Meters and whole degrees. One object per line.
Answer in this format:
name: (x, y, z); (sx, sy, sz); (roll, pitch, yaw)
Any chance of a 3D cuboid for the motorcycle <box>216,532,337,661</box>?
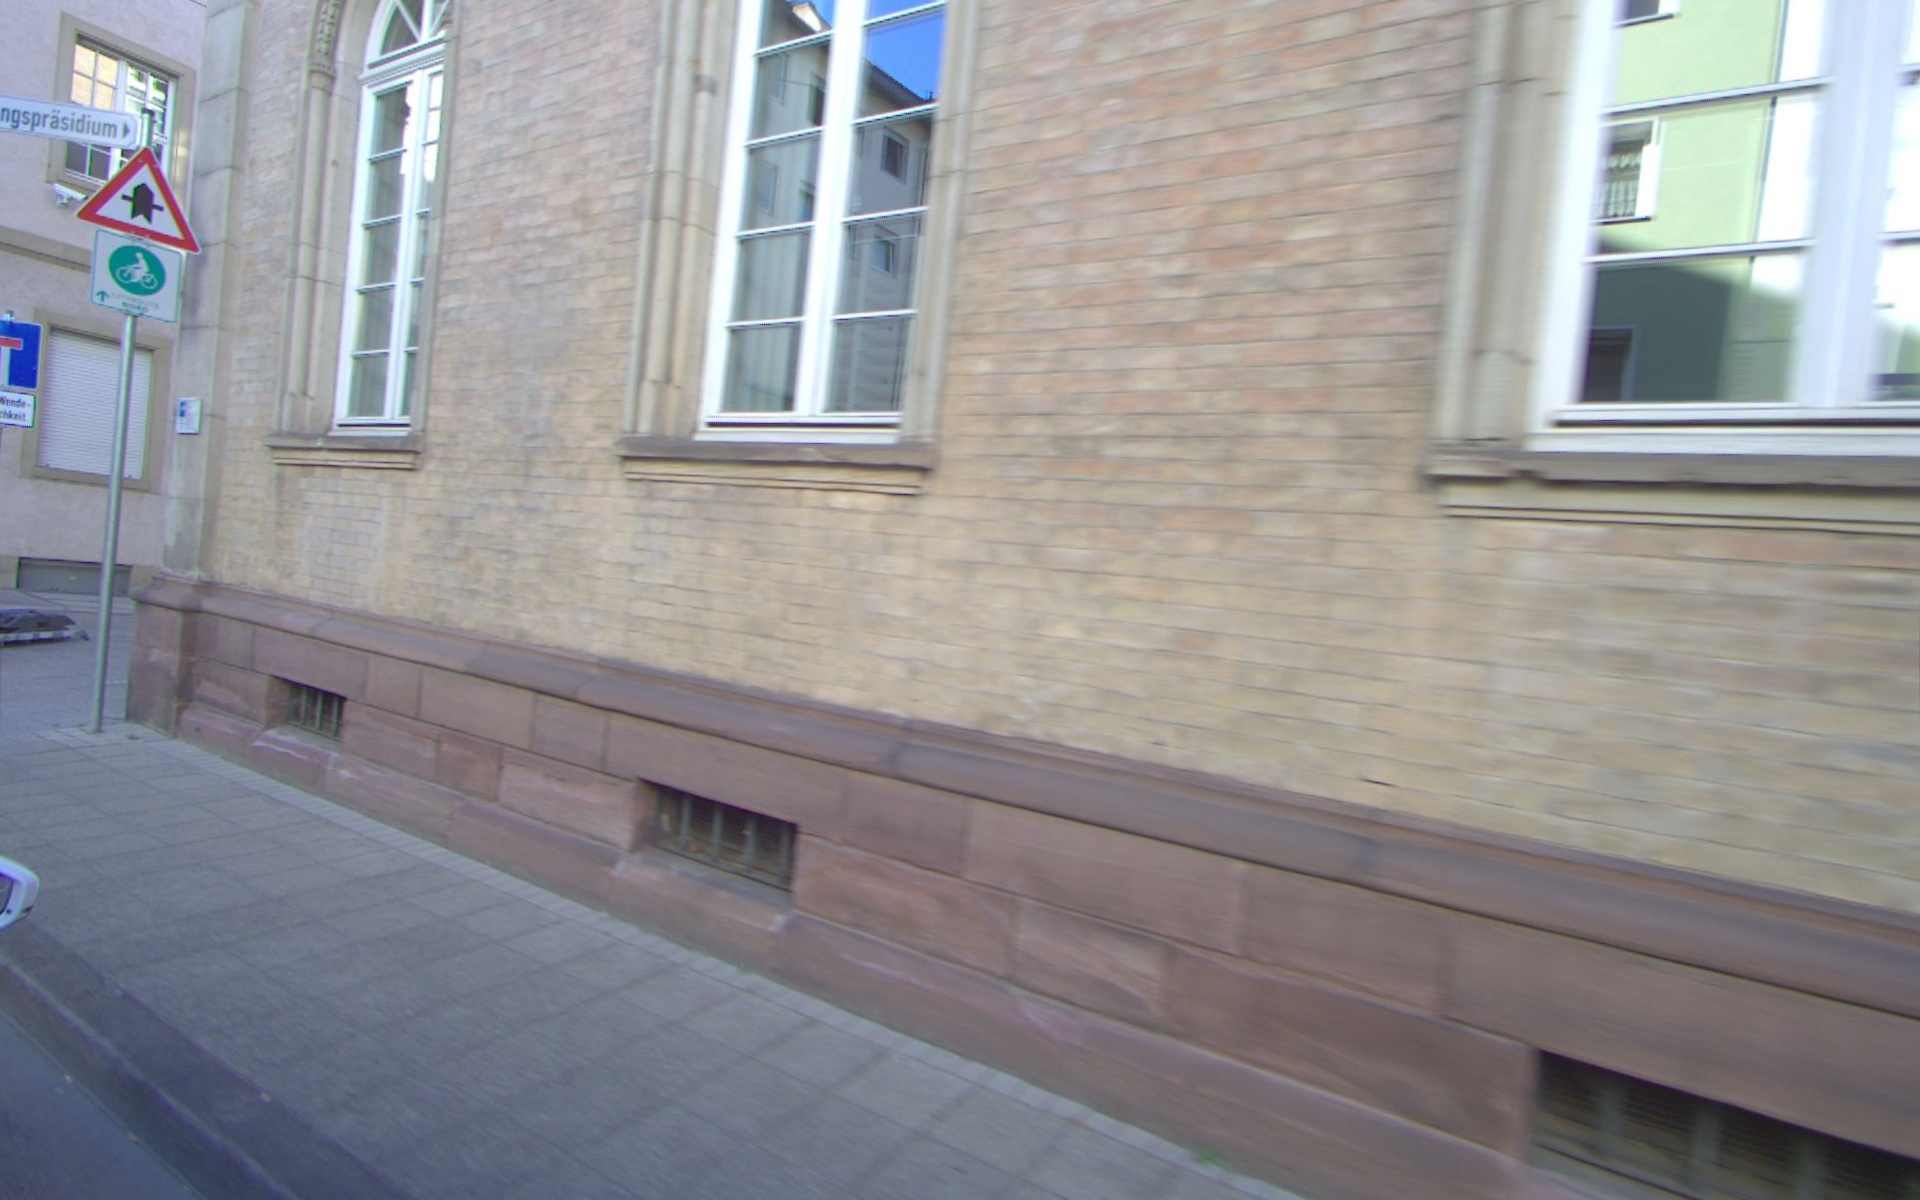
motorcycle: (-7.619, -0.060, 11.315); (0.662, 1.259, 2.178); (5, 0, -24)
